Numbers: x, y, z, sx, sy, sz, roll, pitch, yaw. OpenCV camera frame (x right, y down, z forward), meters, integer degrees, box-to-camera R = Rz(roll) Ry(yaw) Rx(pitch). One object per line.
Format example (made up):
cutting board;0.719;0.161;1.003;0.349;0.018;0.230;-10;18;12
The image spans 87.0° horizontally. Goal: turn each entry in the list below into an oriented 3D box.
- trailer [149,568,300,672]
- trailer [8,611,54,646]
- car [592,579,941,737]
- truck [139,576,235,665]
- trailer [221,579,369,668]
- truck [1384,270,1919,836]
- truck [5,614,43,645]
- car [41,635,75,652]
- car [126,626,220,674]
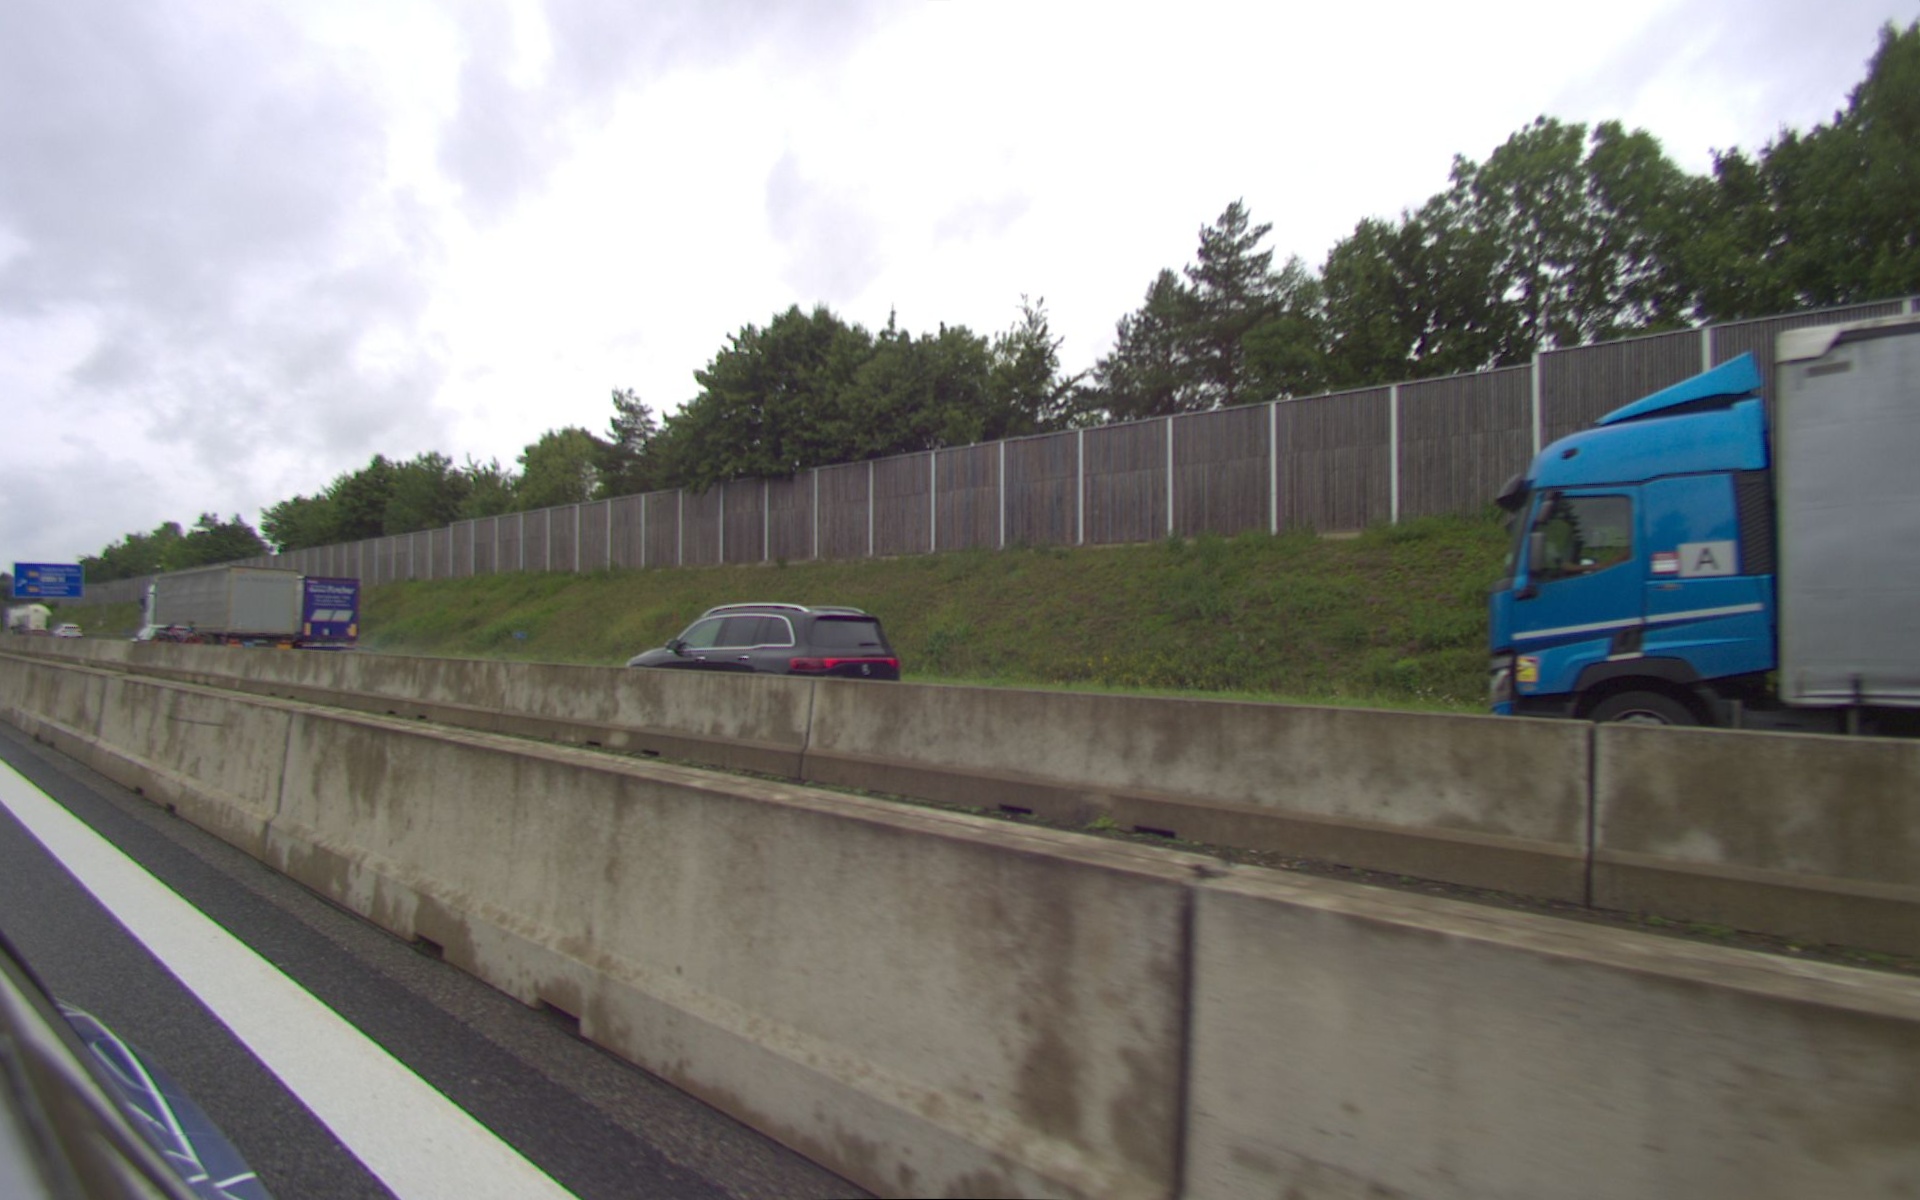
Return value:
trailer;-35.223;0.918;48.117;14.017;4.357;2.750;-1;0;41
trailer;-109.811;3.381;119.565;10.640;3.953;2.683;-1;-4;41
car;-2.752;0.707;13.593;4.999;1.749;1.973;-2;-2;41
truck;-40.099;1.007;52.415;6.094;4.357;2.750;-1;0;41
trailer;-36.949;1.280;55.841;14.331;4.358;3.057;-1;-2;41
truck;10.162;-0.410;7.405;12.675;4.357;3.118;-1;0;42
truck;-113.987;3.634;123.243;5.855;3.585;2.672;-1;-4;41
car;-92.077;4.381;103.321;4.958;1.656;1.973;-2;-2;41
car;-29.372;1.827;37.725;4.355;1.702;1.952;-2;-2;41
